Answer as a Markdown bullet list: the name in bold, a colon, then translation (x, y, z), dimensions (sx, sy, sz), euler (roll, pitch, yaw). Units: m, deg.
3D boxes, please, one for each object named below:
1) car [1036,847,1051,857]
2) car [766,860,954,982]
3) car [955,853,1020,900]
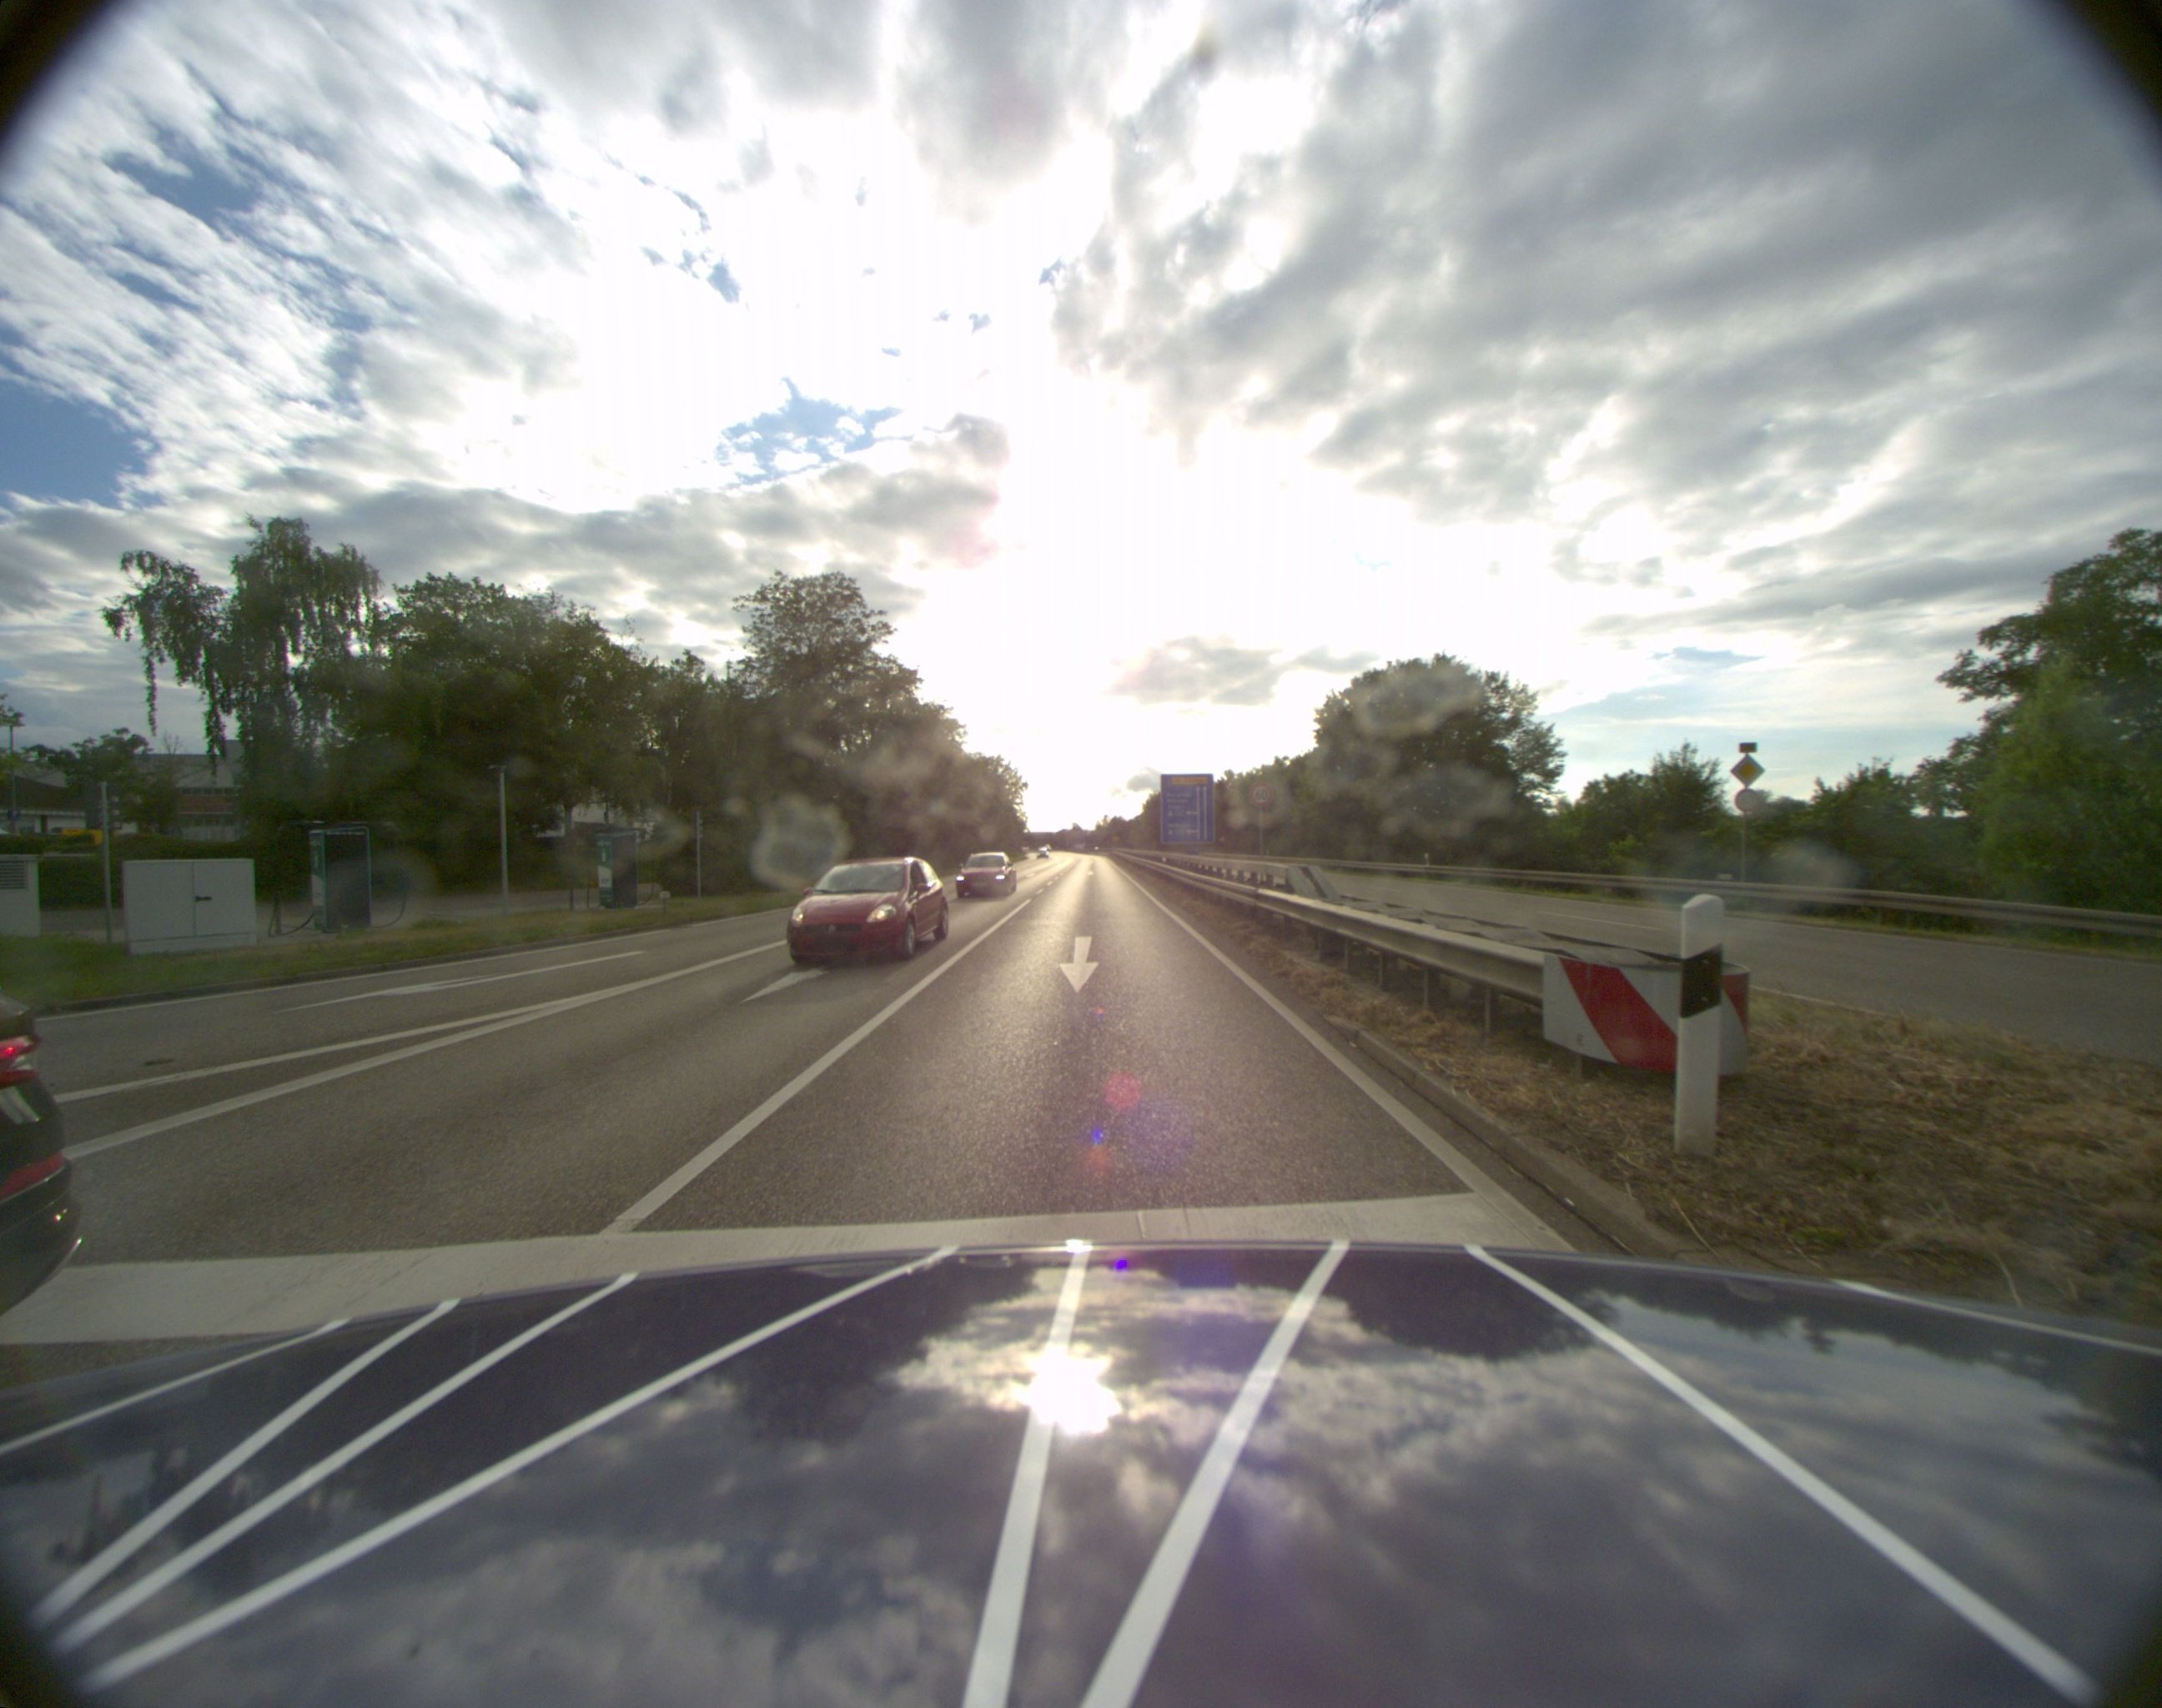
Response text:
- **car**: translation (-5.697, -0.272, 115.832), dimensions (1.998, 1.486, 3.999), euler (0, 1, 1)
- **car**: translation (-3.187, 0.882, 11.810), dimensions (1.667, 1.424, 3.994), euler (-2, 1, 0)
- **car**: translation (-3.179, 0.717, 26.516), dimensions (1.700, 1.408, 3.999), euler (-2, 1, 0)
